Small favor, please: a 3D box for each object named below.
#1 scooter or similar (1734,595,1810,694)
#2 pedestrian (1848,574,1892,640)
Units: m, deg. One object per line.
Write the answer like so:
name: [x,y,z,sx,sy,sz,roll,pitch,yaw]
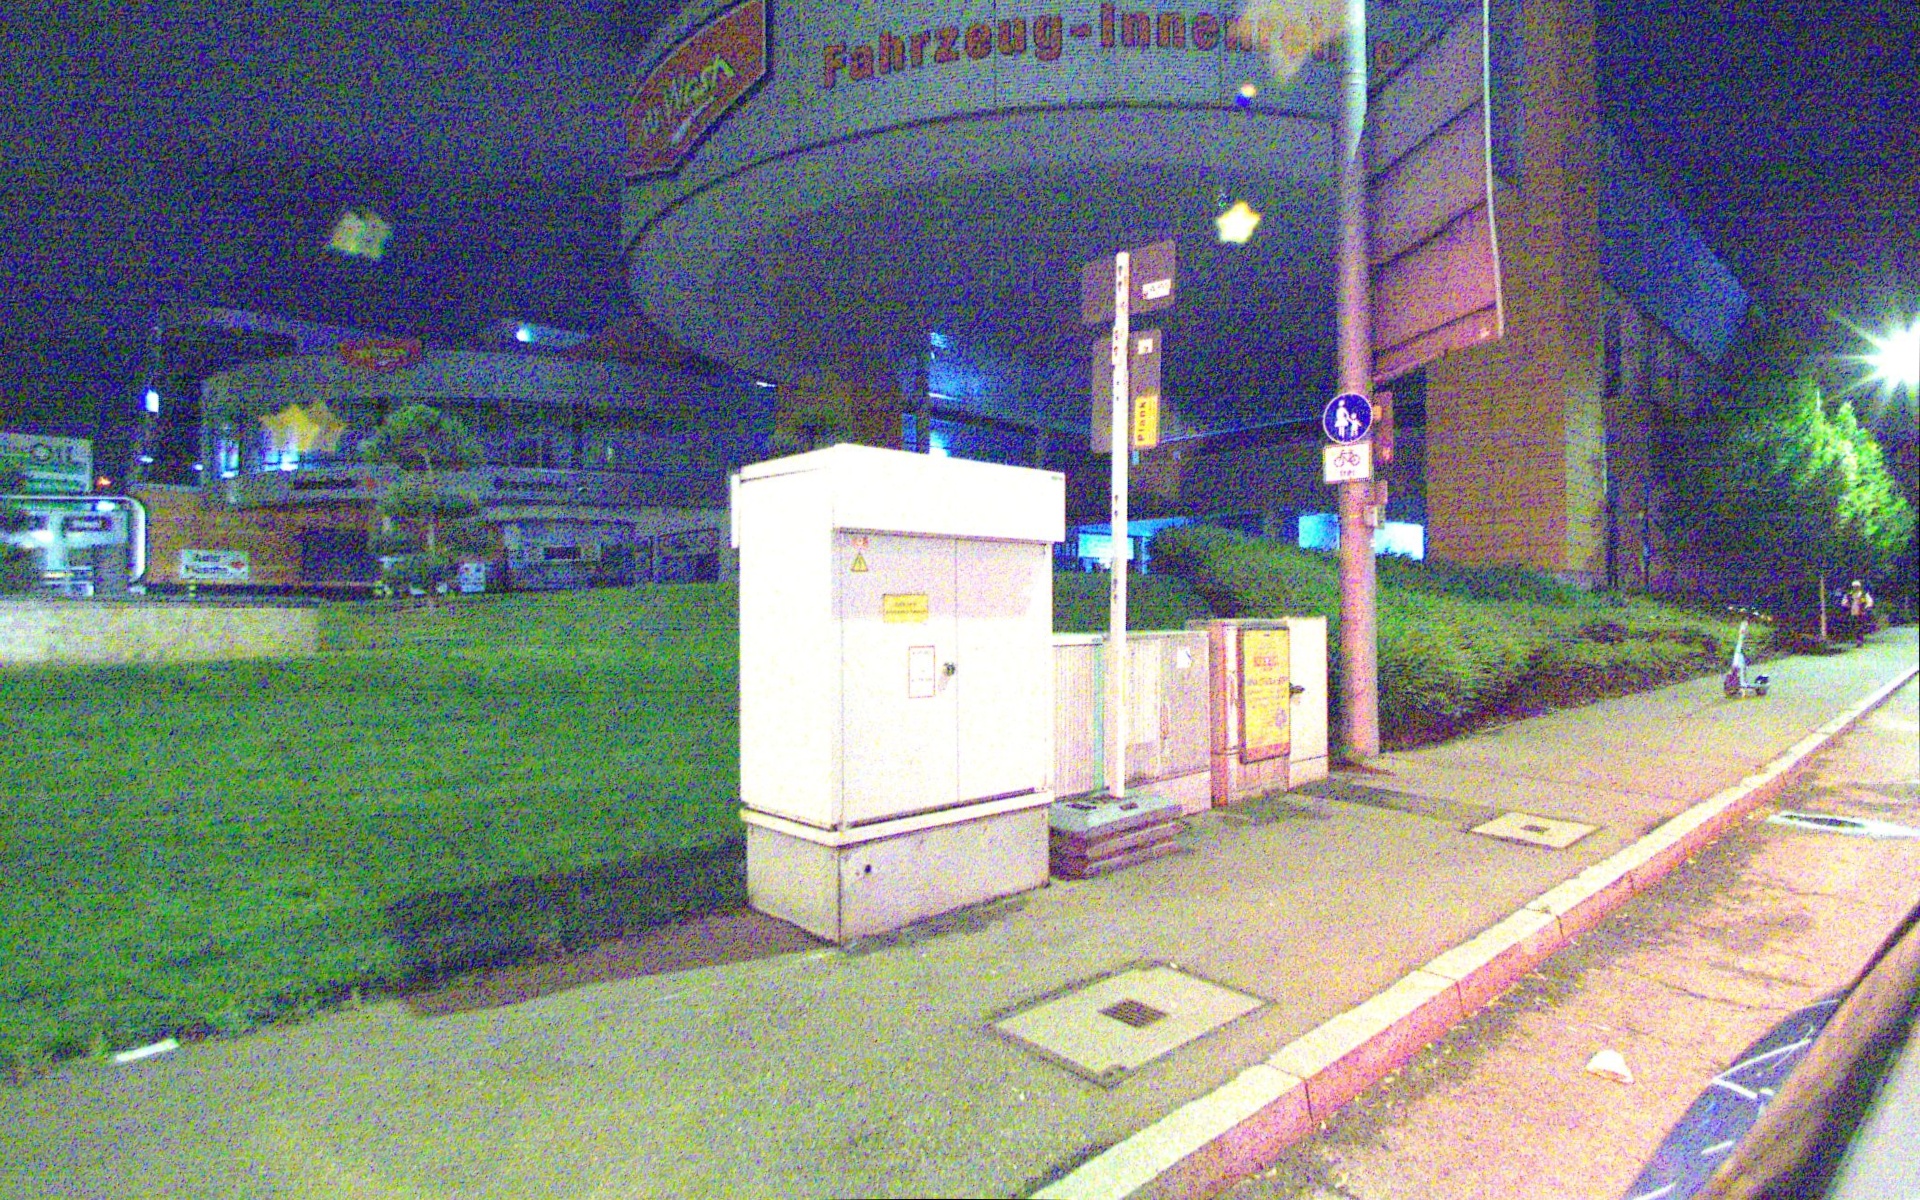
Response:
scooter or similar: [11.288,0.586,14.054,1.367,1.295,0.569,0,1,-41]
pedestrian: [25.717,0.191,28.593,0.597,1.842,0.824,-1,0,-40]
